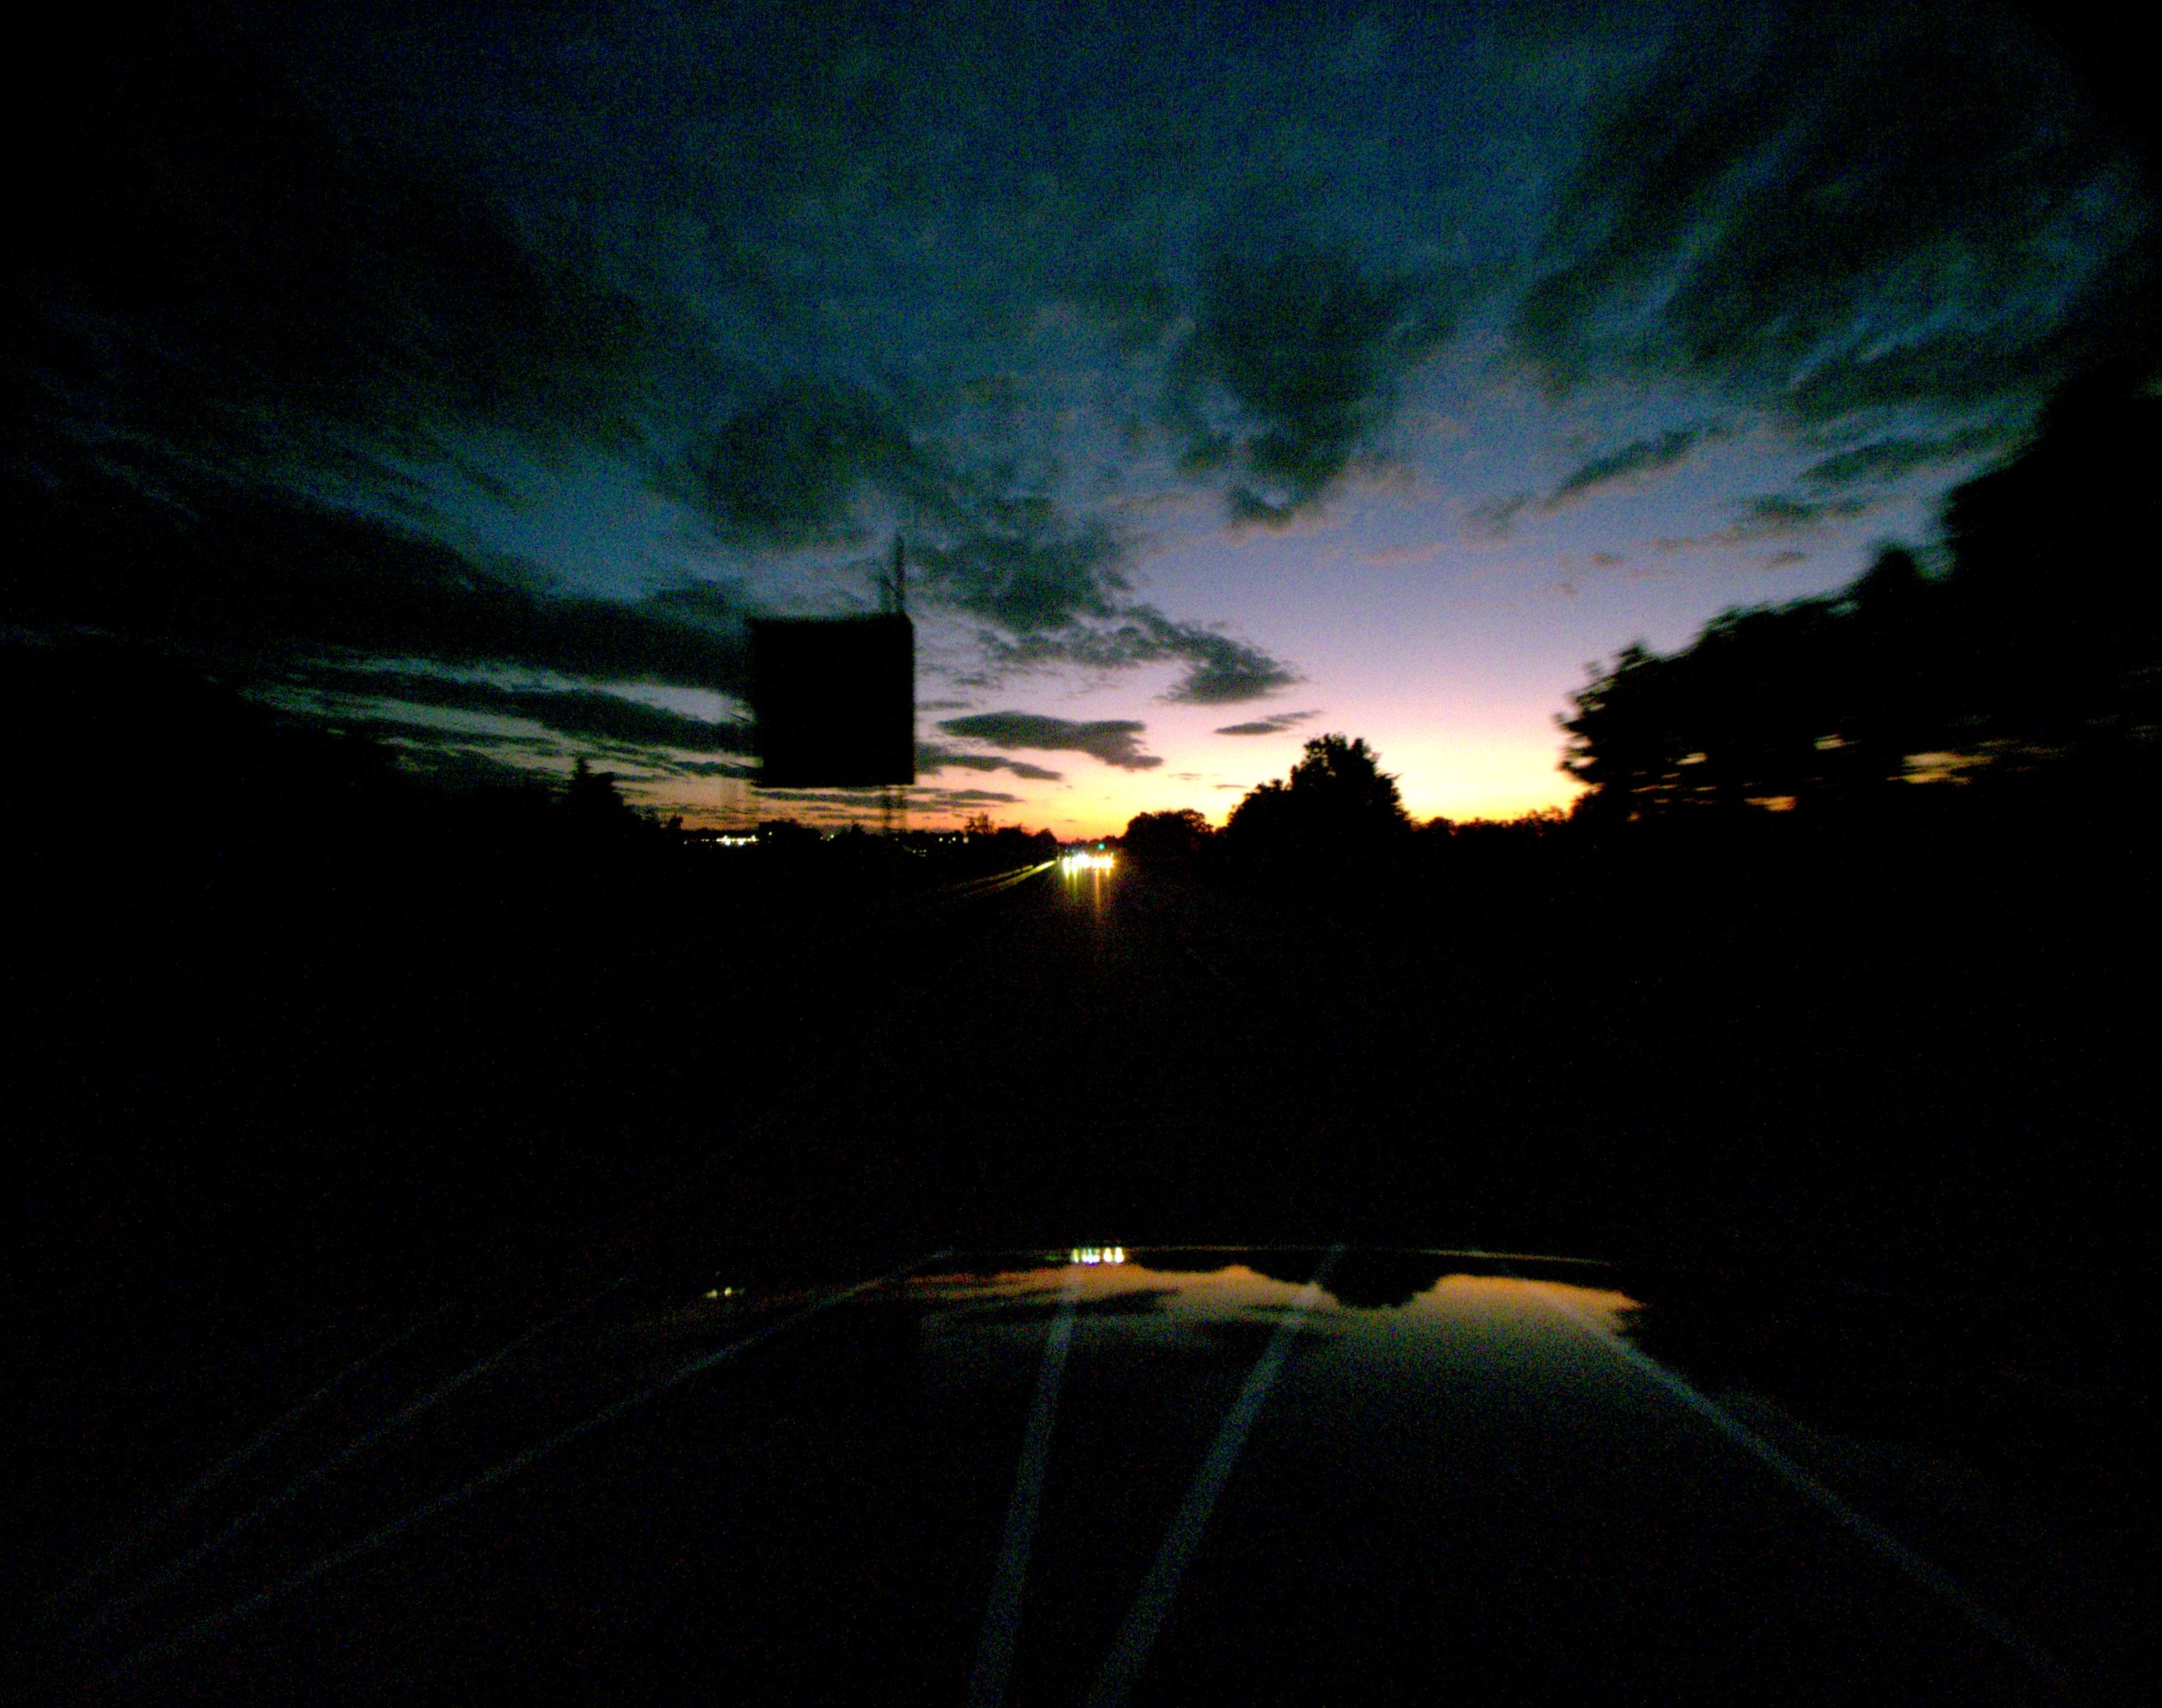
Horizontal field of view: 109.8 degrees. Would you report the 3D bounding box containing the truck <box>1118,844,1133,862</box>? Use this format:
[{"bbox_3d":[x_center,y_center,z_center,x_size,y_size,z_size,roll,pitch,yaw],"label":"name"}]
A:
[{"bbox_3d":[13.311,-0.464,227.460,3.211,5.226,12.605,-2,1,-1],"label":"truck"}]

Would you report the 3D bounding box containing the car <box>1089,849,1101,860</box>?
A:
[{"bbox_3d":[2.543,0.101,137.068,1.999,1.778,3.999,-2,1,0],"label":"car"}]

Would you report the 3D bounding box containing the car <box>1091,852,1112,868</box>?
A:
[{"bbox_3d":[2.129,0.613,80.336,1.999,1.635,4.296,-2,0,0],"label":"car"}]

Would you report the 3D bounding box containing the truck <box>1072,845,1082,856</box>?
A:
[{"bbox_3d":[-1.355,-1.187,253.115,3.016,3.674,9.058,-2,0,1],"label":"truck"}]

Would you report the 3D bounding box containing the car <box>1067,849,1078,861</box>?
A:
[{"bbox_3d":[-1.551,0.174,133.879,1.741,2.002,3.999,-2,0,-1],"label":"car"}]

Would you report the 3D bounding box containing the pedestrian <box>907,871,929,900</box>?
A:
[{"bbox_3d":[-9.872,1.895,45.998,1.064,1.633,1.118,-2,1,-1],"label":"pedestrian"}]

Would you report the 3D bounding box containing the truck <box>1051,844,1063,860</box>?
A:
[{"bbox_3d":[-5.728,-0.462,182.154,2.491,3.778,5.498,-2,1,1],"label":"truck"}]

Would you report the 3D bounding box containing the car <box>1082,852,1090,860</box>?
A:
[{"bbox_3d":[1.459,0.608,216.968,1.998,2.002,4.000,-2,1,1],"label":"car"}]
